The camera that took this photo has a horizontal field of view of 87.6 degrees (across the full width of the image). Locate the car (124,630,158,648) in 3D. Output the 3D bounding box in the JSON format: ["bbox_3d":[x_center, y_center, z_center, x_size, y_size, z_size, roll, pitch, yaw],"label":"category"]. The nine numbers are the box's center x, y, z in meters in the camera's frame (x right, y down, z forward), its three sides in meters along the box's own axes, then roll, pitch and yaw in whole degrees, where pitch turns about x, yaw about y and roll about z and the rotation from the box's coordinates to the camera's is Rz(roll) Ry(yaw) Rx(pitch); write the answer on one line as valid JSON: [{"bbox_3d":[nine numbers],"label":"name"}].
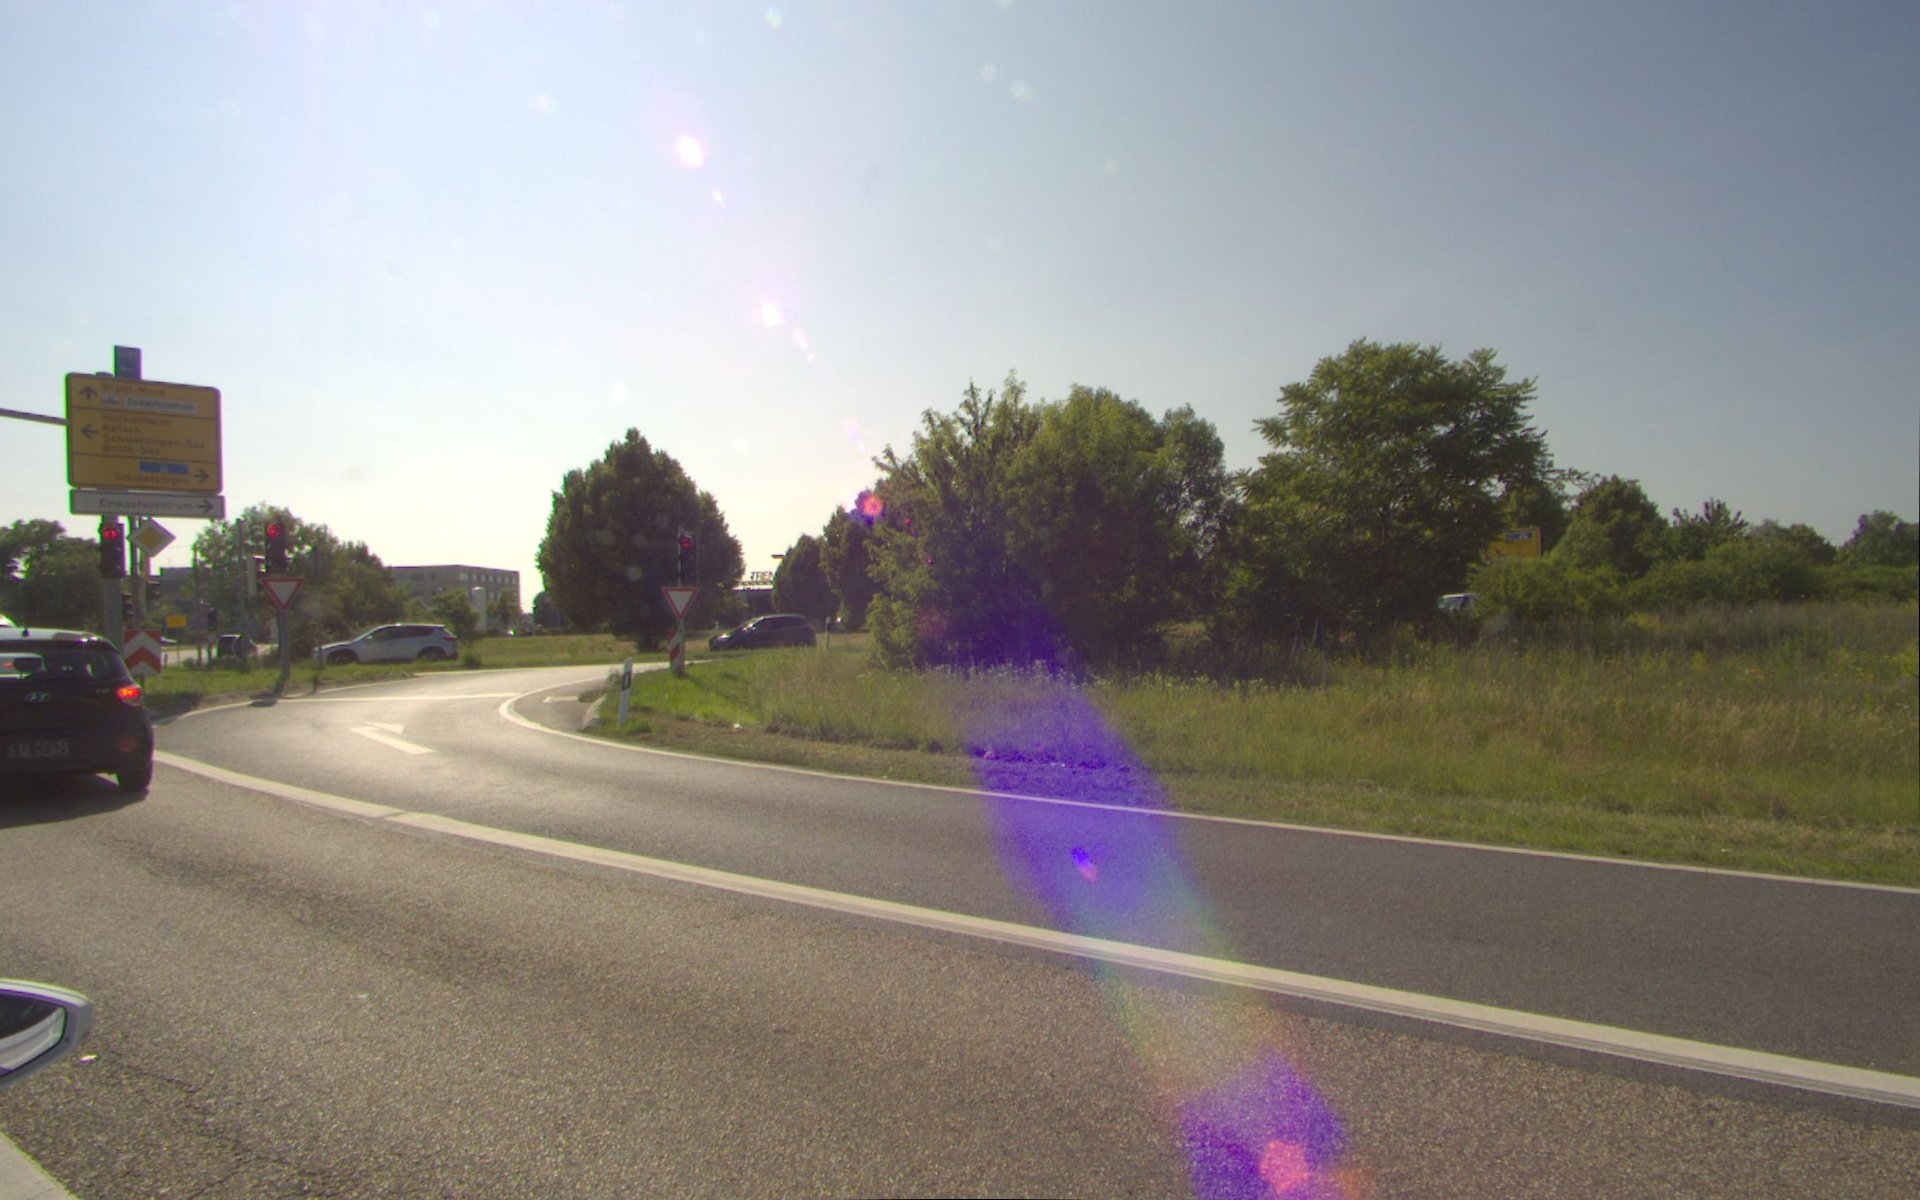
[{"bbox_3d":[-80.261,3.830,98.121,1.855,1.694,3.753,1,-2,-28],"label":"car"}]

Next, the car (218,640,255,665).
[{"bbox_3d":[-51.751,3.735,71.712,1.857,1.694,3.749,1,-2,-32],"label":"car"}]

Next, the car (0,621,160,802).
[{"bbox_3d":[-8.908,0.937,9.334,3.255,1.467,1.626,-1,-2,39],"label":"car"}]

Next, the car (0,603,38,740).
[{"bbox_3d":[-13.677,0.921,13.290,3.705,1.698,1.626,-2,-2,39],"label":"car"}]

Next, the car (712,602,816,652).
[{"bbox_3d":[-8.141,1.108,41.627,3.960,1.978,1.689,0,-1,-28],"label":"car"}]

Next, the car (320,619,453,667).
[{"bbox_3d":[-20.142,1.488,35.245,3.981,1.539,1.797,0,-1,-32],"label":"car"}]

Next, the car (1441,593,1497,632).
[{"bbox_3d":[33.940,0.850,66.733,3.851,2.467,1.455,1,-2,-30],"label":"car"}]
